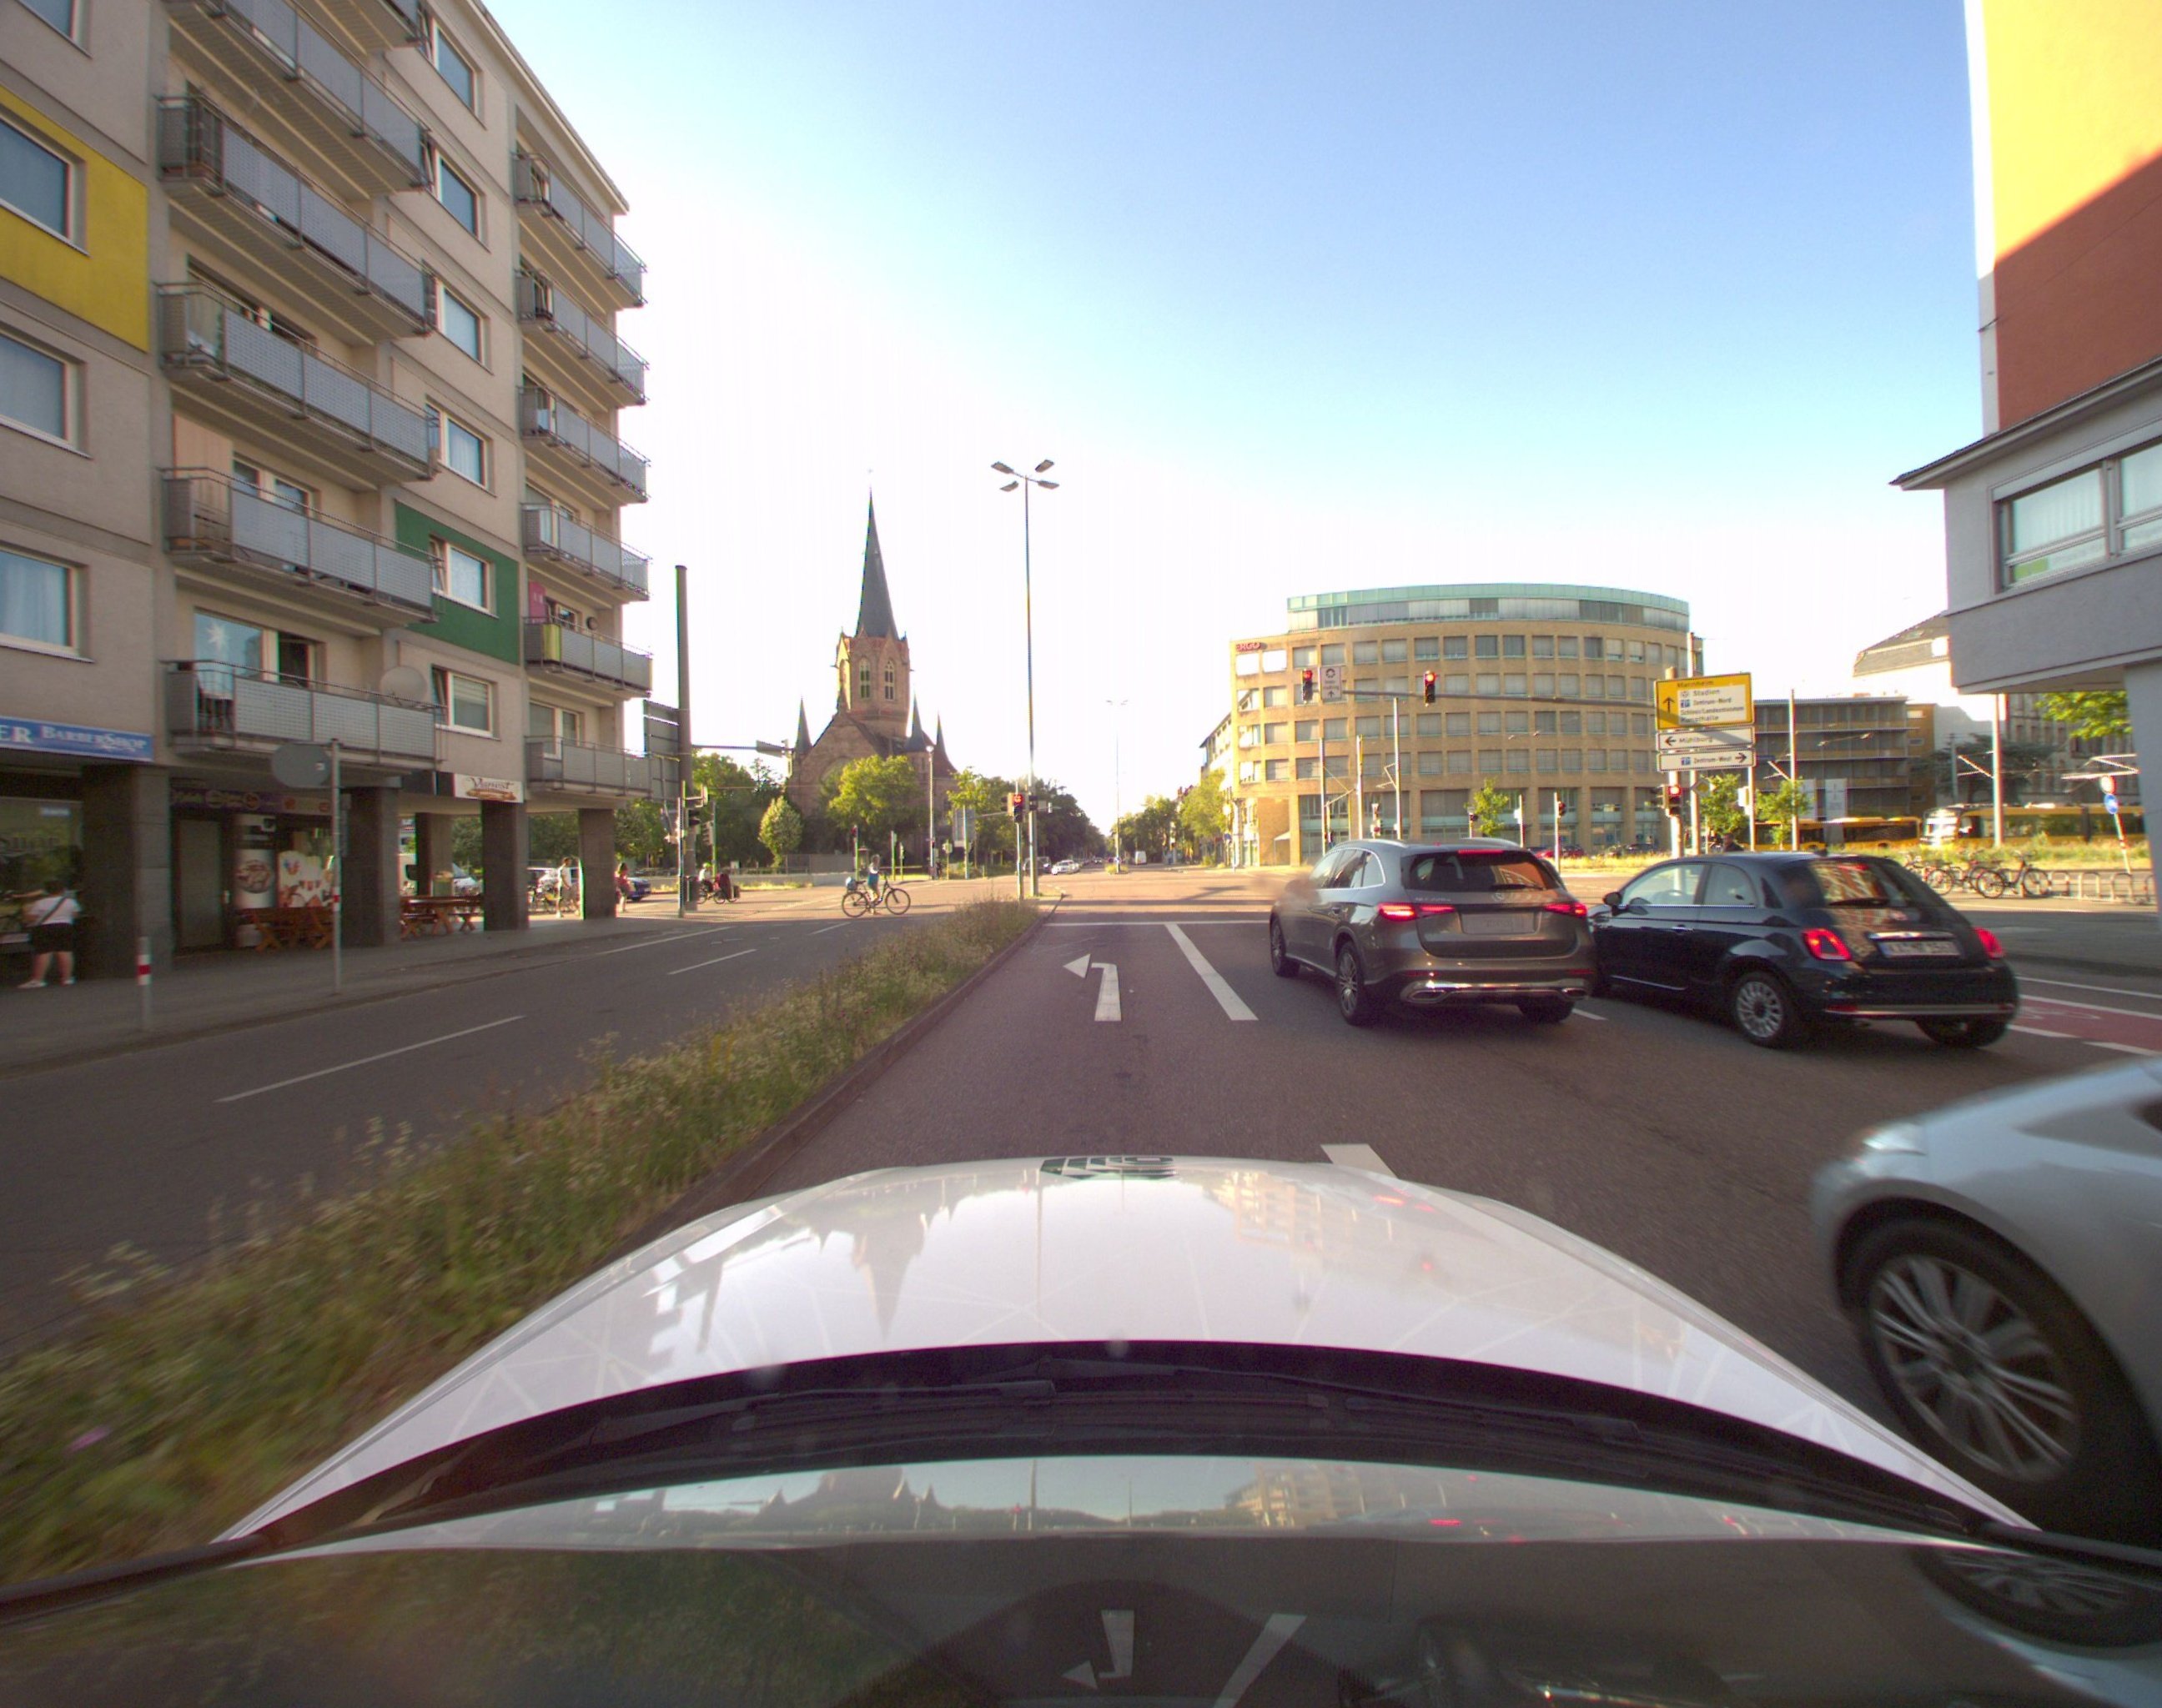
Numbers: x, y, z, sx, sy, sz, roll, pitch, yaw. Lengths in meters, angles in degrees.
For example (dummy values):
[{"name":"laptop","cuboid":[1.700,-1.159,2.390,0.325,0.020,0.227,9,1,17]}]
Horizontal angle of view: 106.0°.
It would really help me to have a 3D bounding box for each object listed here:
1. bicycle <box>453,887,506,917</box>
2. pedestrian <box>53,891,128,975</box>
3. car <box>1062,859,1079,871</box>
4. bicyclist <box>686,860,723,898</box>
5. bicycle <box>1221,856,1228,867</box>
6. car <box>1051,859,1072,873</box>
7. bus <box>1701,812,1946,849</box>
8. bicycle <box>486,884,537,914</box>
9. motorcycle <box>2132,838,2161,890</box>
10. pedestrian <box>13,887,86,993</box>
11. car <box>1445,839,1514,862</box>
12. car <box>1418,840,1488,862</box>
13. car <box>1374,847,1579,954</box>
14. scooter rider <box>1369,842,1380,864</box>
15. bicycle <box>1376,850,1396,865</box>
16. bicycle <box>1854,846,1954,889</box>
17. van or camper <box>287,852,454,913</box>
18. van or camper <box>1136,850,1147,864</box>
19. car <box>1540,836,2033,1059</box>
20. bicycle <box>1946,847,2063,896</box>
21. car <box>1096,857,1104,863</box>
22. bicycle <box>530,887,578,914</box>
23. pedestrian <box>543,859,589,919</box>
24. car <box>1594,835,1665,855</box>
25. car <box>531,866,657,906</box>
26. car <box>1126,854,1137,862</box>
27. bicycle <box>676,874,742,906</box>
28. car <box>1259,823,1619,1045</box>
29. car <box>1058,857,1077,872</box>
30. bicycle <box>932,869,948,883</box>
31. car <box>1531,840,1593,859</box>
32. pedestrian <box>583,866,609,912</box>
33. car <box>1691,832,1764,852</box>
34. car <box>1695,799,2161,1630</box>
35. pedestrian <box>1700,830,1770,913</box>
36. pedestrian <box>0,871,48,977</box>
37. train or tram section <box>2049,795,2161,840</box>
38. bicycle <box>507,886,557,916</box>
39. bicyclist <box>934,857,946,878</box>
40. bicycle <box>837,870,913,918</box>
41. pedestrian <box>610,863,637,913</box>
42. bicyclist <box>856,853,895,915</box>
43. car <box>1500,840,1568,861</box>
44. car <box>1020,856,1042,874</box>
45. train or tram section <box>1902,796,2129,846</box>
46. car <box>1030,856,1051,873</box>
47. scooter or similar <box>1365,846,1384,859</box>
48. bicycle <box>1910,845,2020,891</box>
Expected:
[{"name":"bicycle","cuboid":[-20.543,1.617,27.844,0.494,0.907,1.704,-2,0,1]},{"name":"pedestrian","cuboid":[-15.262,1.206,12.552,0.552,1.239,0.533,-2,0,16]},{"name":"car","cuboid":[-1.177,1.282,93.360,1.773,1.236,4.002,-2,0,2]},{"name":"bicyclist","cuboid":[-14.998,0.981,32.490,0.876,1.487,1.161,-2,0,0]},{"name":"bicycle","cuboid":[16.999,0.854,96.763,0.769,1.195,2.472,-2,0,10]},{"name":"car","cuboid":[-1.892,1.194,79.531,1.773,1.236,4.002,-2,0,2]},{"name":"bus","cuboid":[59.080,-1.845,64.891,18.127,2.436,2.420,-2,0,-3]},{"name":"bicycle","cuboid":[-19.460,1.537,27.857,0.494,0.907,1.704,-2,0,1]},{"name":"motorcycle","cuboid":[26.359,0.228,18.877,0.851,1.241,2.402,-2,0,-1]},{"name":"pedestrian","cuboid":[-14.156,1.164,11.180,0.479,1.384,0.484,-2,0,22]},{"name":"car","cuboid":[29.959,-0.248,61.344,4.211,1.614,2.002,-2,0,3]},{"name":"car","cuboid":[29.531,-0.269,64.750,4.633,1.598,1.999,-2,0,-1]},{"name":"car","cuboid":[6.022,0.628,12.878,1.579,1.446,3.649,0,0,2]},{"name":"scooter rider","cuboid":[24.462,-0.084,67.907,0.676,1.814,0.476,-2,0,8]},{"name":"bicycle","cuboid":[25.022,0.260,66.827,1.511,1.172,0.476,-2,0,8]},{"name":"bicycle","cuboid":[23.372,0.367,23.150,2.079,1.116,0.742,-2,0,0]},{"name":"van or camper","cuboid":[-30.838,1.198,35.458,5.399,2.416,2.166,-2,0,2]},{"name":"van or camper","cuboid":[11.818,0.576,158.967,1.985,2.640,5.355,-2,0,3]},{"name":"car","cuboid":[5.892,0.648,7.411,1.484,1.505,3.479,-2,0,1]},{"name":"bicycle","cuboid":[23.188,0.434,20.469,2.079,1.116,0.742,-2,0,0]},{"name":"car","cuboid":[4.675,1.413,196.785,1.773,1.449,4.002,-2,0,2]},{"name":"bicycle","cuboid":[-18.052,1.579,27.939,0.494,0.840,1.704,-2,0,1]},{"name":"pedestrian","cuboid":[-15.532,1.033,24.577,0.917,1.758,0.676,-2,0,10]},{"name":"car","cuboid":[41.413,-0.683,61.528,3.974,1.346,2.000,-2,0,-1]},{"name":"car","cuboid":[-21.244,1.375,35.651,4.385,1.573,1.837,-2,0,2]},{"name":"car","cuboid":[11.348,0.938,184.228,1.989,1.592,3.995,-2,0,-3]},{"name":"bicycle","cuboid":[-14.806,1.417,32.473,2.036,1.168,1.161,-2,0,0]},{"name":"car","cuboid":[3.195,0.597,8.385,1.777,1.632,4.479,-2,0,1]},{"name":"car","cuboid":[-1.389,1.061,86.098,1.773,1.464,4.002,-2,0,2]},{"name":"bicycle","cuboid":[-11.823,1.843,68.362,0.650,1.139,1.662,-2,0,-34]},{"name":"car","cuboid":[36.157,-0.321,61.245,3.594,1.342,1.723,-2,0,2]},{"name":"pedestrian","cuboid":[-16.329,1.171,27.419,0.466,1.530,0.576,-2,0,1]},{"name":"car","cuboid":[48.878,-0.896,61.602,3.974,1.346,2.000,-2,0,-1]},{"name":"car","cuboid":[2.905,0.656,0.858,1.797,1.568,3.619,-2,0,1]},{"name":"pedestrian","cuboid":[14.227,0.375,17.740,0.939,1.768,0.670,-2,0,6]},{"name":"pedestrian","cuboid":[-16.555,1.062,12.418,0.560,1.578,0.786,-2,0,-4]},{"name":"train or tram section","cuboid":[85.853,-3.022,64.953,19.942,3.177,3.678,-2,0,-17]},{"name":"bicycle","cuboid":[-18.832,1.589,27.980,0.494,0.907,1.704,-2,0,1]},{"name":"bicyclist","cuboid":[-11.832,1.119,68.351,0.643,1.694,0.774,-2,0,-35]},{"name":"bicycle","cuboid":[-5.548,1.073,22.035,1.821,1.188,0.734,-2,0,0]},{"name":"pedestrian","cuboid":[-15.282,1.123,27.228,0.464,1.642,0.579,-2,0,22]},{"name":"bicyclist","cuboid":[-5.647,0.812,22.421,0.780,1.660,0.900,-2,0,0]},{"name":"car","cuboid":[35.821,-0.286,64.452,4.217,1.502,1.999,-2,0,-2]},{"name":"car","cuboid":[-4.897,1.030,80.148,1.773,1.647,4.002,-2,0,2]},{"name":"train or tram section","cuboid":[68.519,-2.405,59.667,17.129,3.177,3.682,-2,0,-15]},{"name":"car","cuboid":[-4.328,1.106,87.539,1.773,1.704,4.002,-2,0,2]},{"name":"scooter or similar","cuboid":[24.470,-0.125,67.907,1.392,1.001,0.476,-2,0,8]},{"name":"bicycle","cuboid":[23.413,0.366,21.597,2.079,1.116,0.742,-2,0,0]}]
